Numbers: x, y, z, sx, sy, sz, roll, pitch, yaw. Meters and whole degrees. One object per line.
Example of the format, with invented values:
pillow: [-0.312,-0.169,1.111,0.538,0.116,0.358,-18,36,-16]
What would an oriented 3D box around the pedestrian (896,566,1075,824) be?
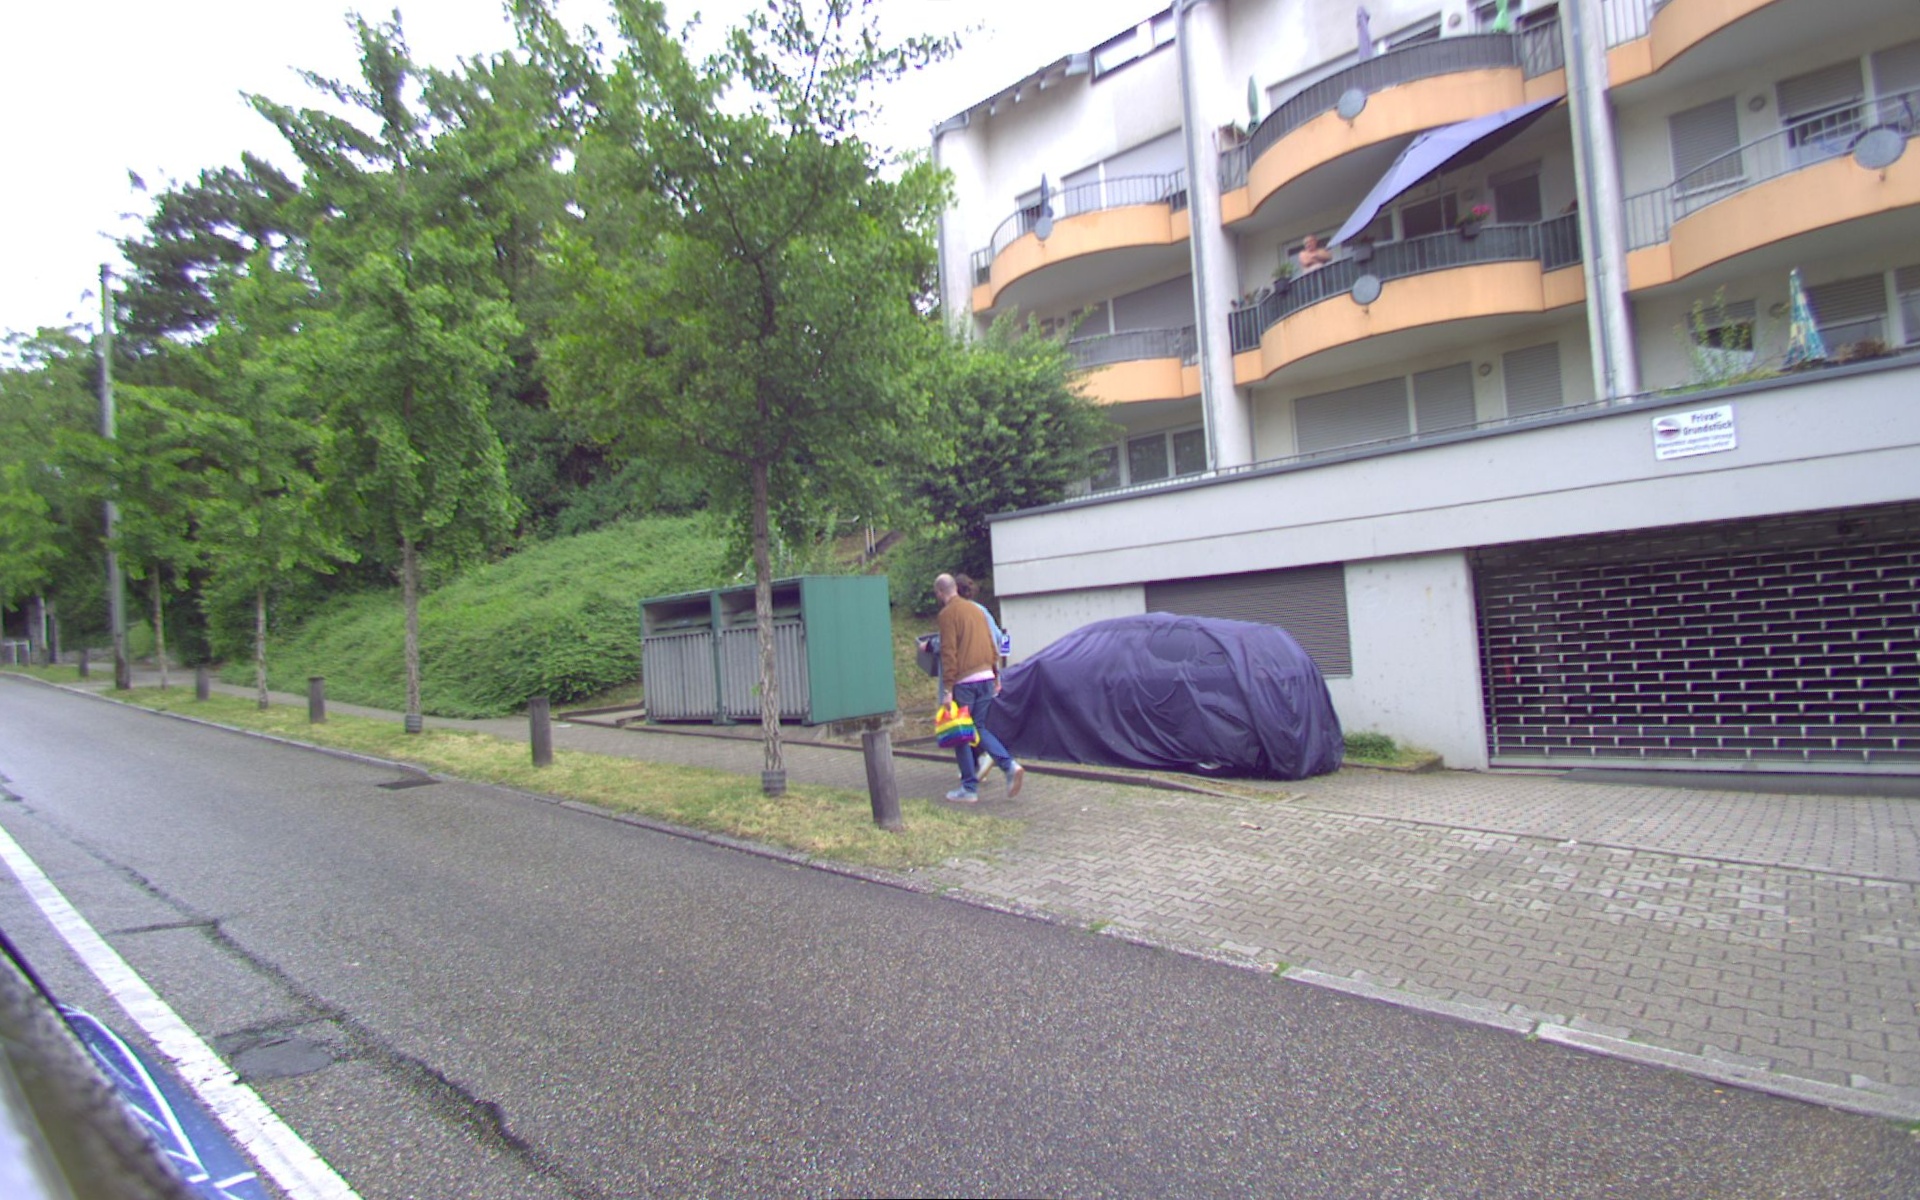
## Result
pedestrian: [0.187,0.664,7.777,0.811,1.795,1.075,-3,2,-39]

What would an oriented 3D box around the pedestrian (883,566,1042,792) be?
pedestrian: [0.012,0.629,8.770,0.812,1.795,1.075,-3,2,-42]

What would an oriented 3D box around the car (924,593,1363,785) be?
car: [1.739,0.828,10.342,4.096,1.573,1.759,-2,-5,41]
